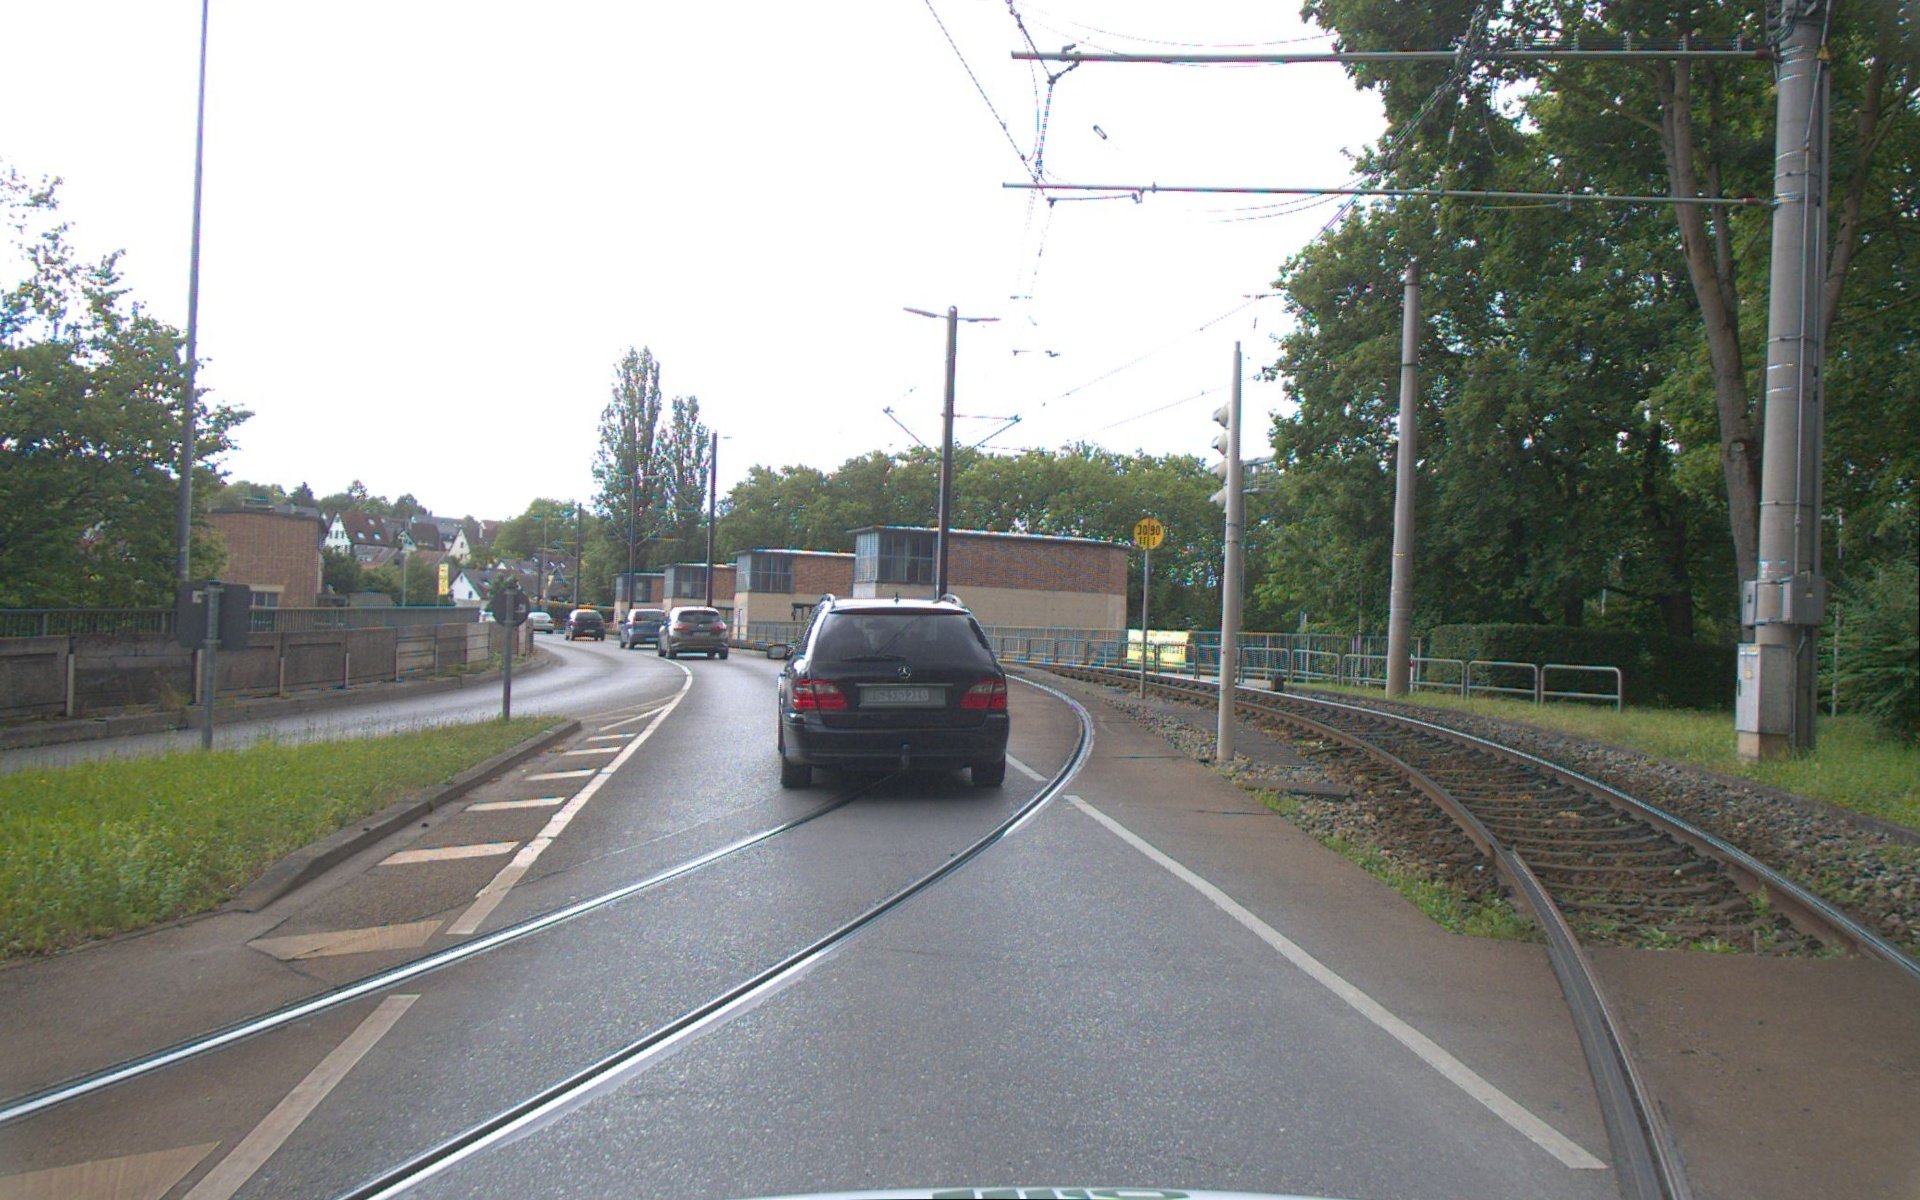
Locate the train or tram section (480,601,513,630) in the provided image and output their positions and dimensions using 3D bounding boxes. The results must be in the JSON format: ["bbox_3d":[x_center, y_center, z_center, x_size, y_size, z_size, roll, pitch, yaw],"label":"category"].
[{"bbox_3d":[-63.226,2.236,225.289,2.744,3.720,19.771,0,-1,-20],"label":"train or tram section"}]

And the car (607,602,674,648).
[{"bbox_3d":[-12.226,0.921,63.039,1.962,1.591,4.973,-1,1,-17],"label":"car"}]

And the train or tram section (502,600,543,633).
[{"bbox_3d":[-50.288,1.870,189.849,2.840,3.571,18.553,0,-1,-20],"label":"train or tram section"}]

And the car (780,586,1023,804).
[{"bbox_3d":[-0.567,0.680,14.120,1.724,1.542,4.439,1,0,-4],"label":"car"}]

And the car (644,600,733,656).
[{"bbox_3d":[-8.204,0.830,49.764,1.745,1.583,4.212,2,-1,-22],"label":"car"}]

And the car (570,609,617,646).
[{"bbox_3d":[-17.847,1.318,80.433,1.961,1.702,4.521,0,0,-16],"label":"car"}]

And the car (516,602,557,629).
[{"bbox_3d":[-27.151,0.965,105.937,1.965,1.598,4.874,3,-1,-21],"label":"car"}]
